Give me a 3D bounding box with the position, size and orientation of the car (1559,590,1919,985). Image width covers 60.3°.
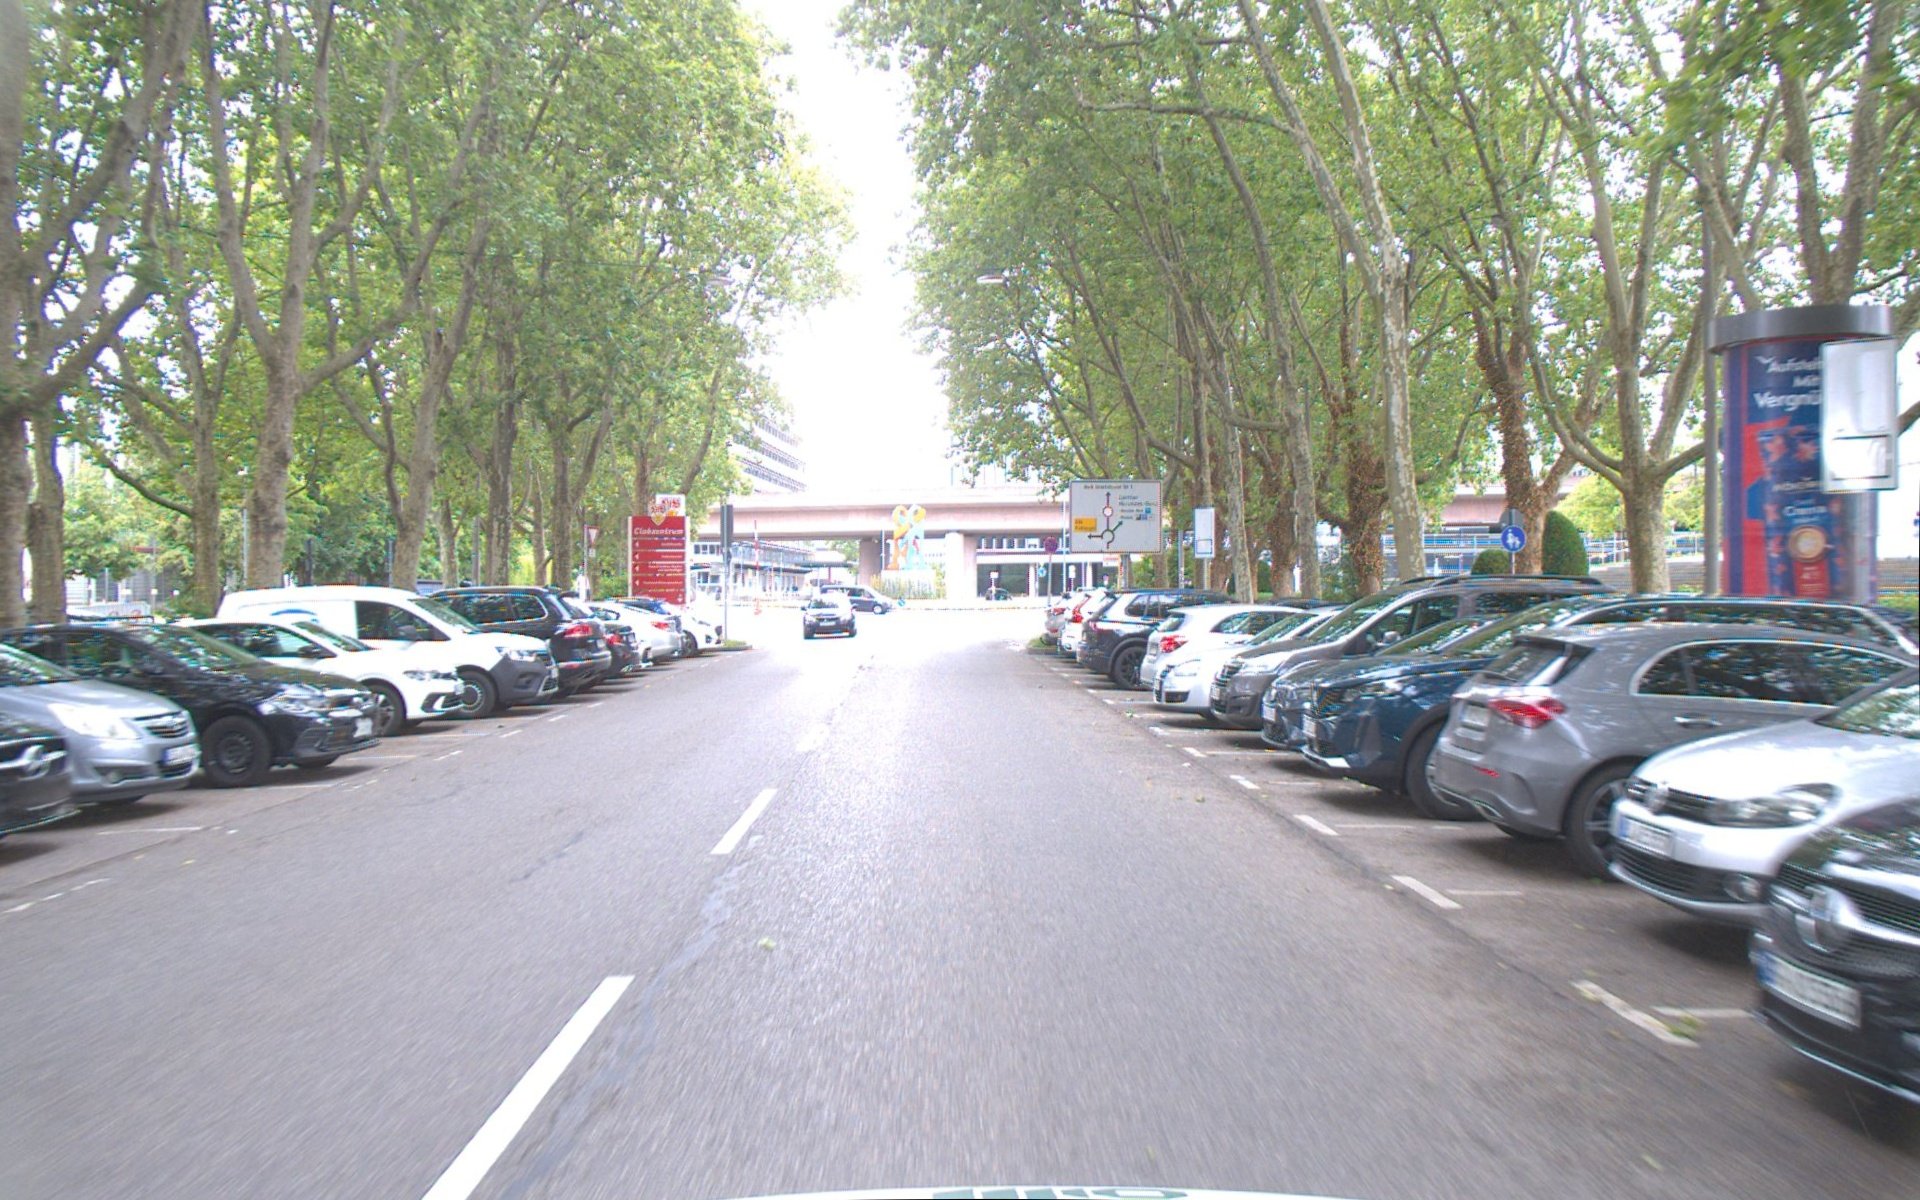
[{"bbox_3d":[5.227,0.775,7.554,4.259,1.528,1.925,1,1,-2],"label":"car"}]

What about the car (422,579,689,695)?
[{"bbox_3d":[-7.123,0.621,29.437,4.230,1.841,1.867,-2,0,-1],"label":"car"}]

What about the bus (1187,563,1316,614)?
[{"bbox_3d":[23.855,-0.905,135.021,10.909,4.003,2.736,1,0,-26],"label":"bus"}]

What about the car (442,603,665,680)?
[{"bbox_3d":[-7.870,0.788,32.307,3.907,1.429,1.884,1,0,-3],"label":"car"}]

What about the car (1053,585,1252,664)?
[{"bbox_3d":[4.302,0.540,37.440,4.258,1.633,1.925,1,1,-1],"label":"car"}]

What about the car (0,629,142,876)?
[{"bbox_3d":[-7.712,0.962,10.160,4.371,1.371,1.902,-2,1,0],"label":"car"}]

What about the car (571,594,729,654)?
[{"bbox_3d":[-8.392,0.649,45.002,3.912,1.567,1.805,1,0,0],"label":"car"}]

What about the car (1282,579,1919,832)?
[{"bbox_3d":[4.864,0.730,12.474,4.497,1.668,1.873,1,1,1],"label":"car"}]

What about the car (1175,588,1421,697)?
[{"bbox_3d":[5.110,0.621,25.272,3.365,1.518,1.680,-1,0,-2],"label":"car"}]

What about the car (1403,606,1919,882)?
[{"bbox_3d":[5.101,0.818,10.086,4.258,1.438,1.925,1,1,-1],"label":"car"}]

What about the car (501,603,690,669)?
[{"bbox_3d":[-8.242,0.802,37.662,3.906,1.430,1.861,1,0,-2],"label":"car"}]

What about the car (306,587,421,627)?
[{"bbox_3d":[-24.021,0.296,66.720,3.906,1.549,2.001,1,0,-1],"label":"car"}]

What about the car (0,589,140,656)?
[{"bbox_3d":[-22.617,0.530,40.199,4.234,1.575,2.203,1,0,-2],"label":"car"}]

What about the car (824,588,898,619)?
[{"bbox_3d":[-6.731,0.226,112.382,4.667,2.049,2.285,1,0,6],"label":"car"}]

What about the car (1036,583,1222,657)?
[{"bbox_3d":[4.037,0.465,40.054,4.258,1.662,1.925,1,1,-1],"label":"car"}]

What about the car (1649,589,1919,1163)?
[{"bbox_3d":[4.665,0.786,5.137,4.263,1.528,1.923,1,1,-7],"label":"car"}]

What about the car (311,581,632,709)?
[{"bbox_3d":[-7.273,0.656,24.977,4.230,1.826,2.036,1,0,-1],"label":"car"}]

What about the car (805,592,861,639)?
[{"bbox_3d":[-4.360,0.527,57.206,1.805,1.536,4.013,1,0,-3],"label":"car"}]

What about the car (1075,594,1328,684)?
[{"bbox_3d":[4.323,0.687,30.070,4.259,1.481,1.948,1,1,-3],"label":"car"}]

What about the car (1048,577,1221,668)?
[{"bbox_3d":[4.170,0.519,39.970,3.906,2.049,2.000,1,1,-1],"label":"car"}]

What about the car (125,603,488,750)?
[{"bbox_3d":[-7.669,0.861,19.752,3.716,1.497,1.759,-2,1,-12],"label":"car"}]

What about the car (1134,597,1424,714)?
[{"bbox_3d":[4.287,0.729,22.541,3.568,1.452,1.664,1,1,-4],"label":"car"}]

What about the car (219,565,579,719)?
[{"bbox_3d":[-7.497,0.527,22.455,4.233,1.841,1.866,-2,0,-5],"label":"car"}]

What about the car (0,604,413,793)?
[{"bbox_3d":[-7.173,0.856,14.803,3.896,1.445,1.756,-2,0,2],"label":"car"}]

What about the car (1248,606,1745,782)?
[{"bbox_3d":[4.776,0.812,15.122,3.958,1.404,1.743,1,1,-1],"label":"car"}]

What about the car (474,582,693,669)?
[{"bbox_3d":[-7.885,0.532,34.930,4.179,1.575,1.907,-3,0,-3],"label":"car"}]

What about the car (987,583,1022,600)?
[{"bbox_3d":[5.126,-0.974,189.430,1.962,1.803,3.980,0,0,39],"label":"car"}]

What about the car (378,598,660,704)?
[{"bbox_3d":[-7.227,0.817,27.419,4.044,1.477,2.013,-3,1,0],"label":"car"}]

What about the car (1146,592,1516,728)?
[{"bbox_3d":[4.402,0.691,20.015,4.064,1.483,1.727,1,0,-1],"label":"car"}]

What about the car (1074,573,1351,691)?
[{"bbox_3d":[4.158,0.519,27.674,4.259,1.791,1.924,1,0,-3],"label":"car"}]

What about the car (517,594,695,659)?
[{"bbox_3d":[-8.515,0.630,40.054,3.913,1.520,1.832,1,0,-2],"label":"car"}]

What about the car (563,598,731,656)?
[{"bbox_3d":[-8.022,0.677,42.598,3.910,1.409,1.912,1,0,2],"label":"car"}]

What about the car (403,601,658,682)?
[{"bbox_3d":[-7.662,0.730,29.833,4.106,1.378,1.966,1,0,-4],"label":"car"}]

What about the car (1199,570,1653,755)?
[{"bbox_3d":[4.839,0.622,17.559,4.259,1.776,1.836,1,1,-3],"label":"car"}]

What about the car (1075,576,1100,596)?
[{"bbox_3d":[13.778,-1.520,178.629,1.951,2.049,4.002,0,0,16],"label":"car"}]

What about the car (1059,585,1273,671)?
[{"bbox_3d":[4.295,0.568,35.032,4.258,1.662,1.925,1,1,-1],"label":"car"}]

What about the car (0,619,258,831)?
[{"bbox_3d":[-7.856,0.932,12.350,4.373,1.393,1.879,-2,1,-2],"label":"car"}]
